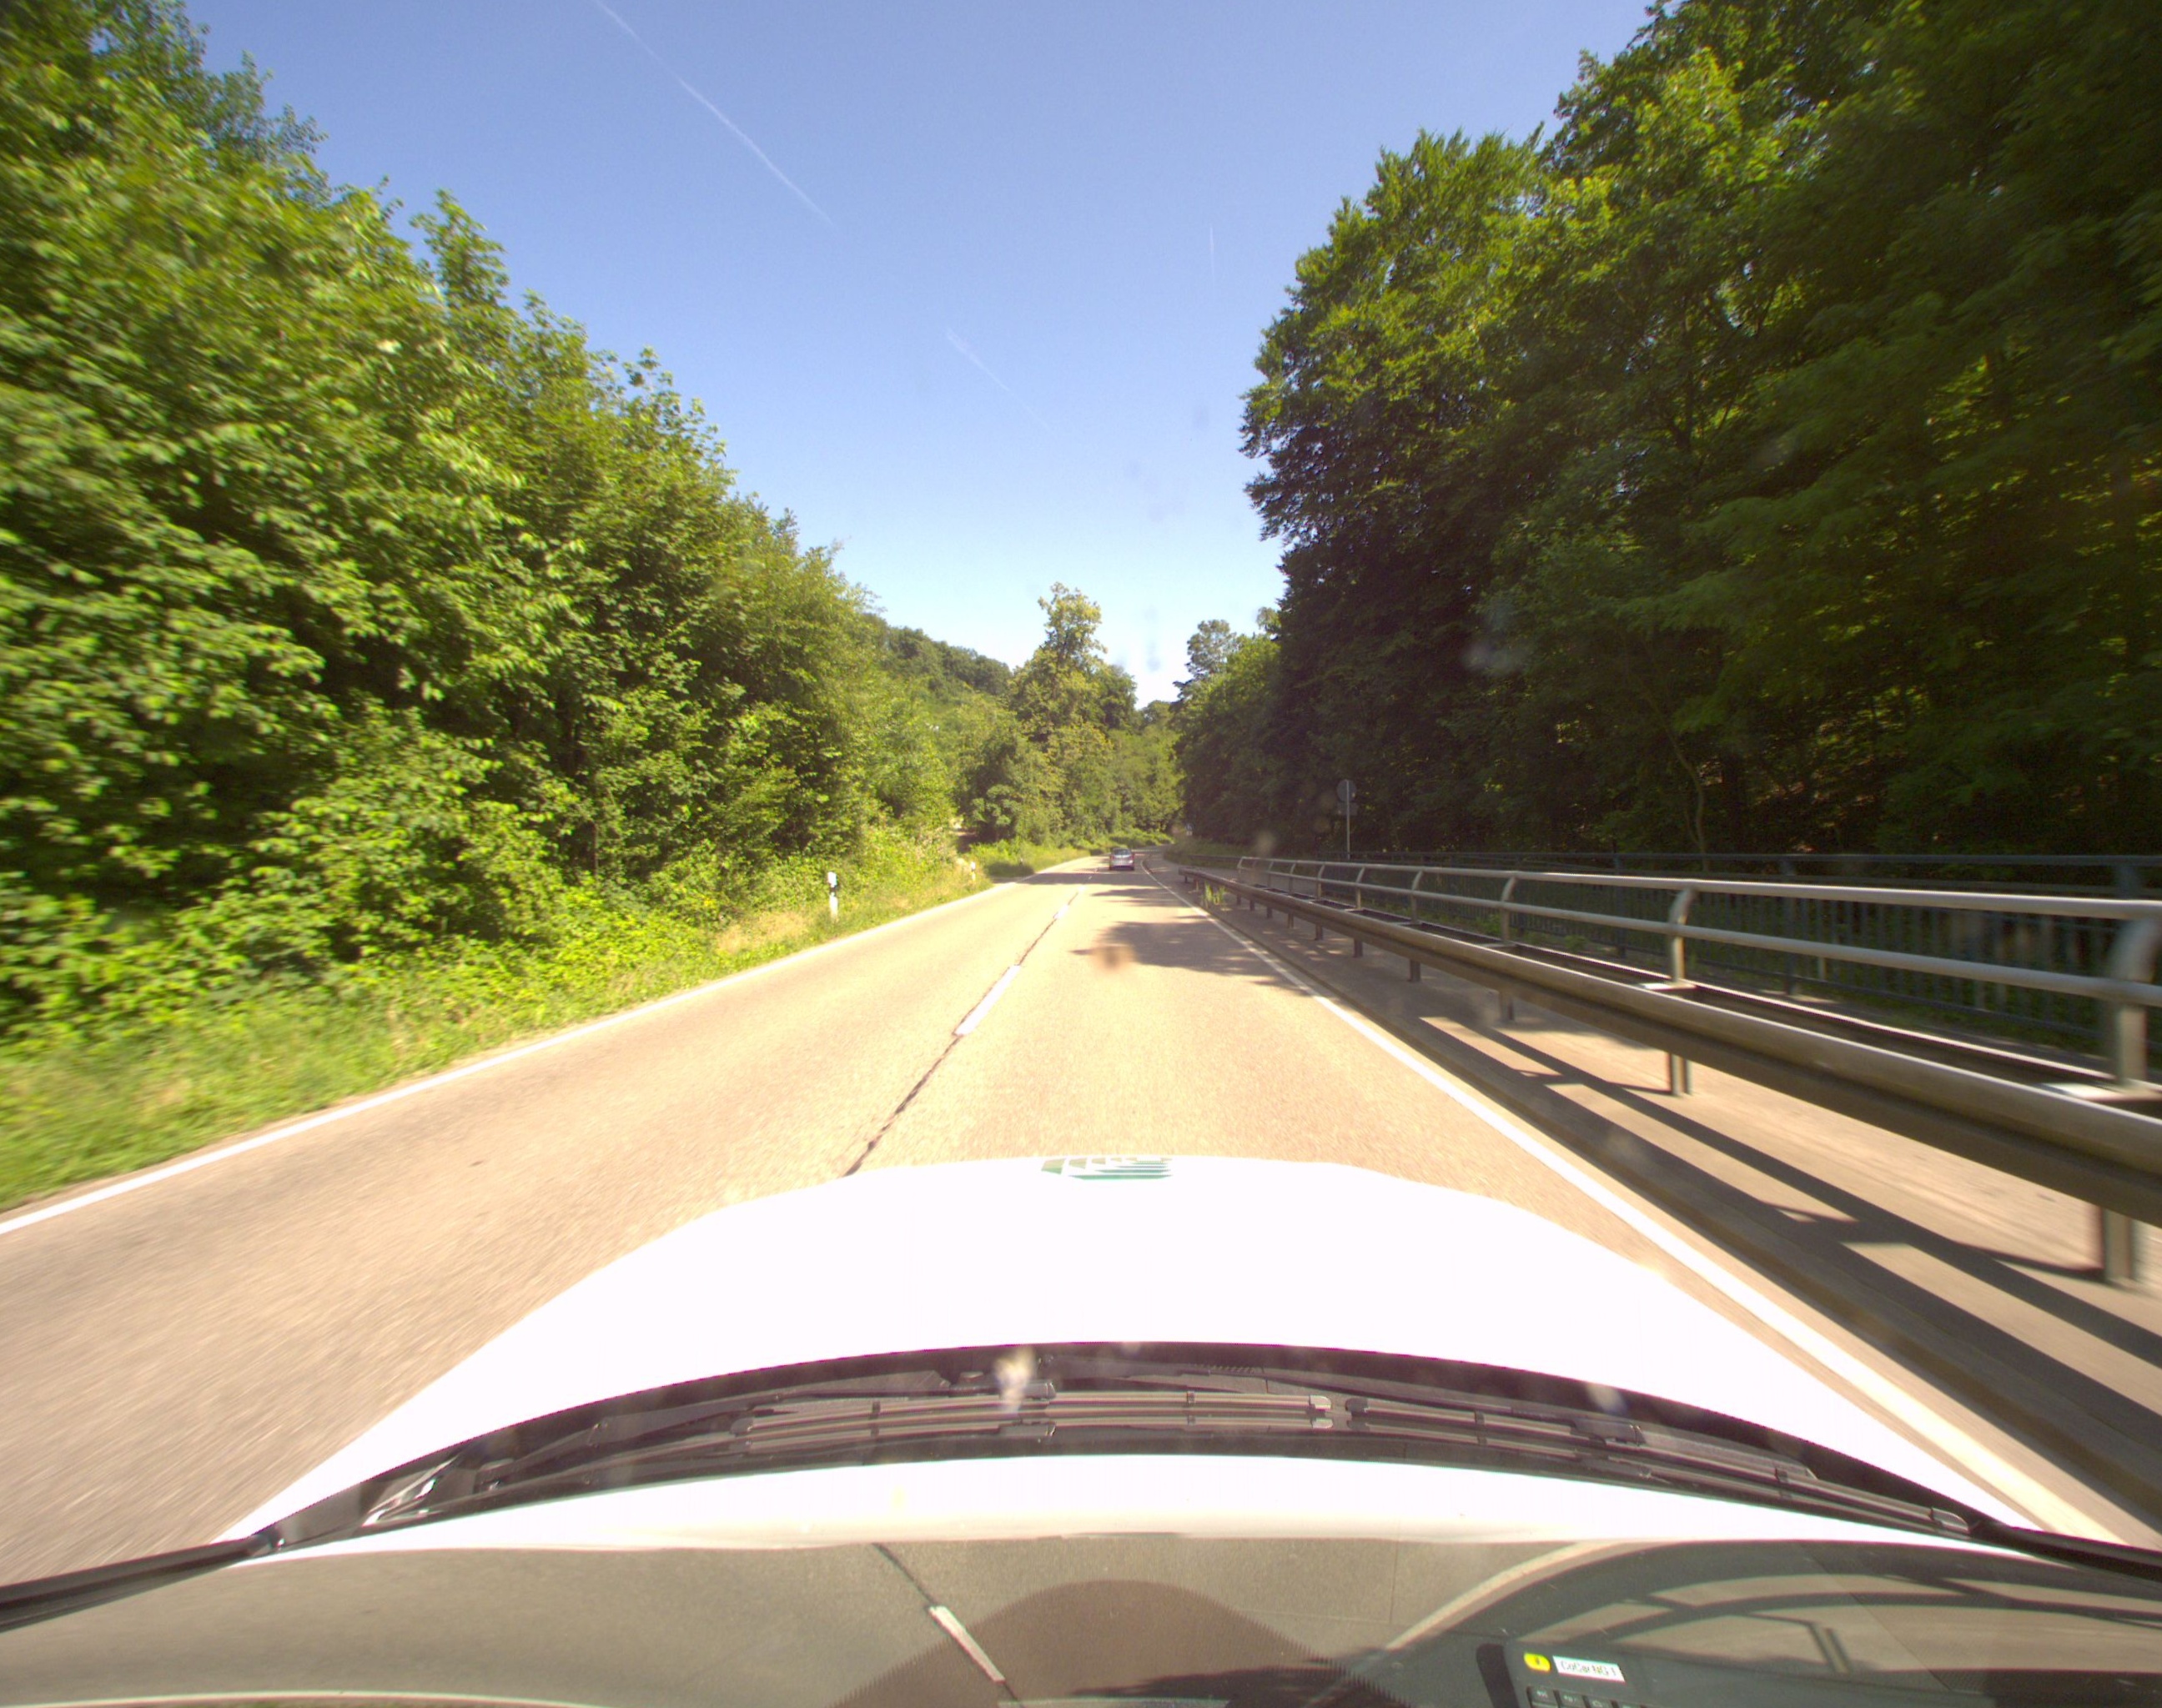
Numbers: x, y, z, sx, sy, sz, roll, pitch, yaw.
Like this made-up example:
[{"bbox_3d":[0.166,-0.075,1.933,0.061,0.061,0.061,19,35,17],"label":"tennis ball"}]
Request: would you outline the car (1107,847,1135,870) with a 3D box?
[{"bbox_3d":[2.803,0.281,56.270,1.743,1.520,4.165,0,1,5],"label":"car"}]
